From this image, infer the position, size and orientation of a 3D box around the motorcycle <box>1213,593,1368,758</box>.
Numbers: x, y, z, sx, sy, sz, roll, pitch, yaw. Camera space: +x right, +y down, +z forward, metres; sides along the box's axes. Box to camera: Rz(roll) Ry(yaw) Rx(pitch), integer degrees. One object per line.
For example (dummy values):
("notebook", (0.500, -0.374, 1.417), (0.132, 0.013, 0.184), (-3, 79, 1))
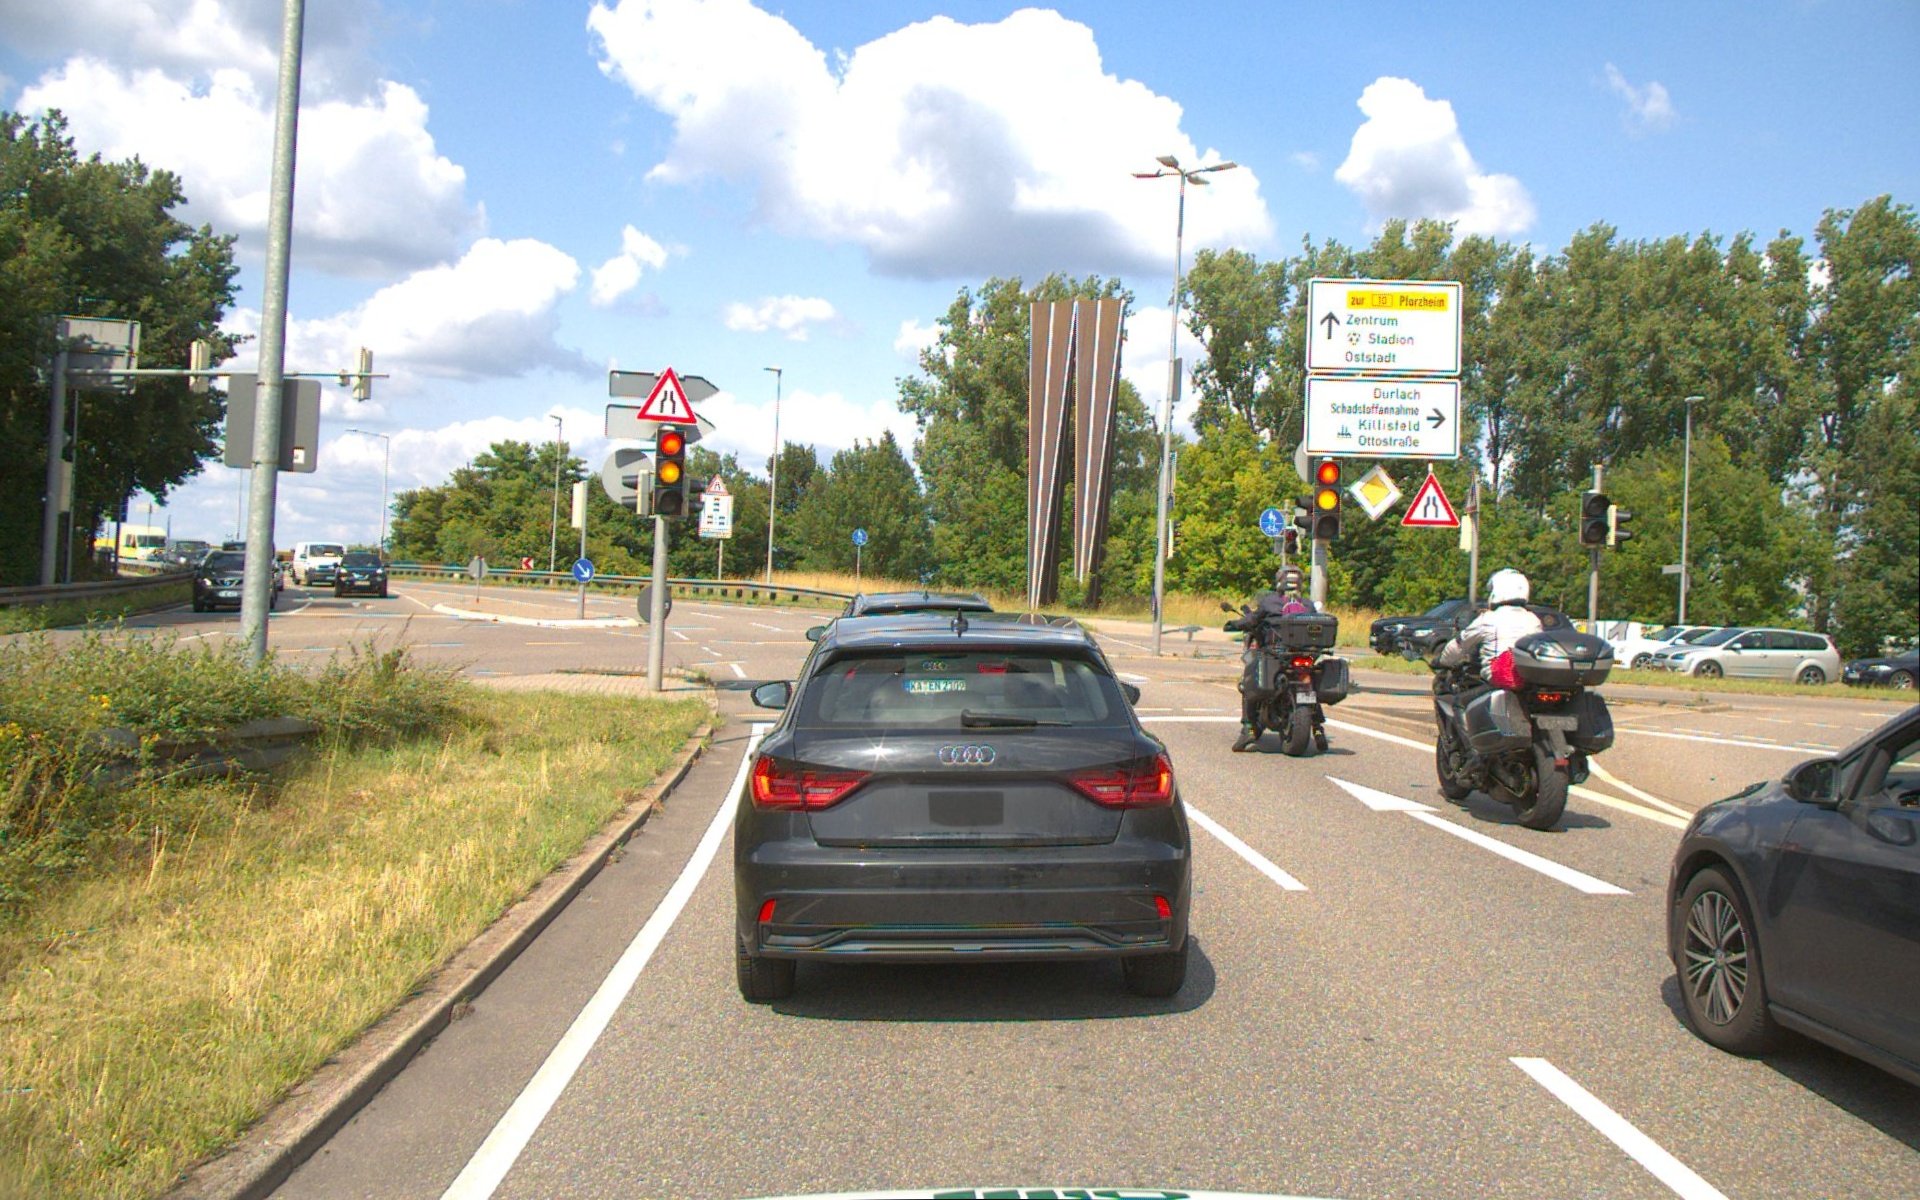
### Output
("motorcycle", (3.066, 0.653, 15.614), (0.918, 1.407, 2.369), (2, 0, -1))

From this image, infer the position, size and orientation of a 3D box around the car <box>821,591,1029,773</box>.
("car", (-0.437, 0.649, 15.326), (1.692, 1.448, 3.841), (0, 1, -5))

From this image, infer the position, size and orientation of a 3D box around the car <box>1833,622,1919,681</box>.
("car", (26.192, 1.426, 44.851), (4.141, 1.502, 1.736), (2, 0, -4))

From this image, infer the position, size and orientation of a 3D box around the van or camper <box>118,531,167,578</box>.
("van or camper", (-50.368, -2.785, 101.847), (1.974, 2.730, 6.788), (2, 0, -32))

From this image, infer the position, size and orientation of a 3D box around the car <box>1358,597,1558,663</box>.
("car", (13.189, 0.782, 43.927), (4.750, 1.572, 1.736), (2, 0, -2))

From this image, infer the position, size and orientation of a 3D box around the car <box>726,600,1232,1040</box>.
("car", (0.035, 0.733, 7.532), (1.691, 1.429, 3.999), (0, 1, -1))

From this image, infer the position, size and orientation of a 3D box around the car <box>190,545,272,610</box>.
("car", (-19.763, -0.564, 44.947), (1.813, 1.646, 3.974), (2, -1, -21))

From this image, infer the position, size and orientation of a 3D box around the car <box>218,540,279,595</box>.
("car", (-25.371, -1.143, 59.102), (1.817, 1.833, 4.299), (2, 0, -22))

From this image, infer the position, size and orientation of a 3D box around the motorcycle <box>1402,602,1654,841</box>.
("motorcycle", (3.810, 0.751, 11.361), (0.848, 1.413, 2.370), (2, 1, -1))

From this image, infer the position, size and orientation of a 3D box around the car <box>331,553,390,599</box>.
("car", (-21.434, -0.865, 59.103), (1.708, 1.522, 4.017), (2, 0, -23))

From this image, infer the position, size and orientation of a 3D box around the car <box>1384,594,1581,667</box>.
("car", (12.606, 0.723, 40.066), (4.182, 1.572, 1.736), (2, 0, -2))

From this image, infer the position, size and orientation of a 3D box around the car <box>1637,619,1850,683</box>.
("car", (19.068, 1.230, 40.343), (4.384, 1.343, 1.735), (2, 0, -4))

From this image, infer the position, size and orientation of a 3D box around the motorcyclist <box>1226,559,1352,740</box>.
("motorcyclist", (3.073, 0.445, 15.560), (0.918, 1.618, 1.083), (2, 0, -1))

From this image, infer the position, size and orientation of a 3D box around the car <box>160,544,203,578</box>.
("car", (-42.134, -2.084, 89.502), (1.823, 1.735, 4.286), (2, 0, -29))

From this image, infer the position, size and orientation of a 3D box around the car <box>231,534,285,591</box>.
("car", (-28.216, -1.490, 66.403), (1.819, 2.137, 4.293), (2, 0, -24))

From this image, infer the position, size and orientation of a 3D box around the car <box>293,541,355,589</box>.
("car", (-28.638, -1.565, 74.423), (1.972, 2.049, 4.427), (2, 0, -29))

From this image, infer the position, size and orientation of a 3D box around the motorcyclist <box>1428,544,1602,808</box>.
("motorcyclist", (3.819, 0.501, 11.456), (0.848, 1.730, 0.894), (2, 0, -1))

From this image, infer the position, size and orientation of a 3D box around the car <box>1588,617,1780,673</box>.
("car", (19.337, 1.197, 44.282), (4.404, 1.304, 1.736), (2, 0, -4))

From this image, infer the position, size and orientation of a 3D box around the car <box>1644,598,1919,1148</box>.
("car", (3.511, 0.786, 4.287), (1.696, 1.502, 4.046), (2, 0, -1))
